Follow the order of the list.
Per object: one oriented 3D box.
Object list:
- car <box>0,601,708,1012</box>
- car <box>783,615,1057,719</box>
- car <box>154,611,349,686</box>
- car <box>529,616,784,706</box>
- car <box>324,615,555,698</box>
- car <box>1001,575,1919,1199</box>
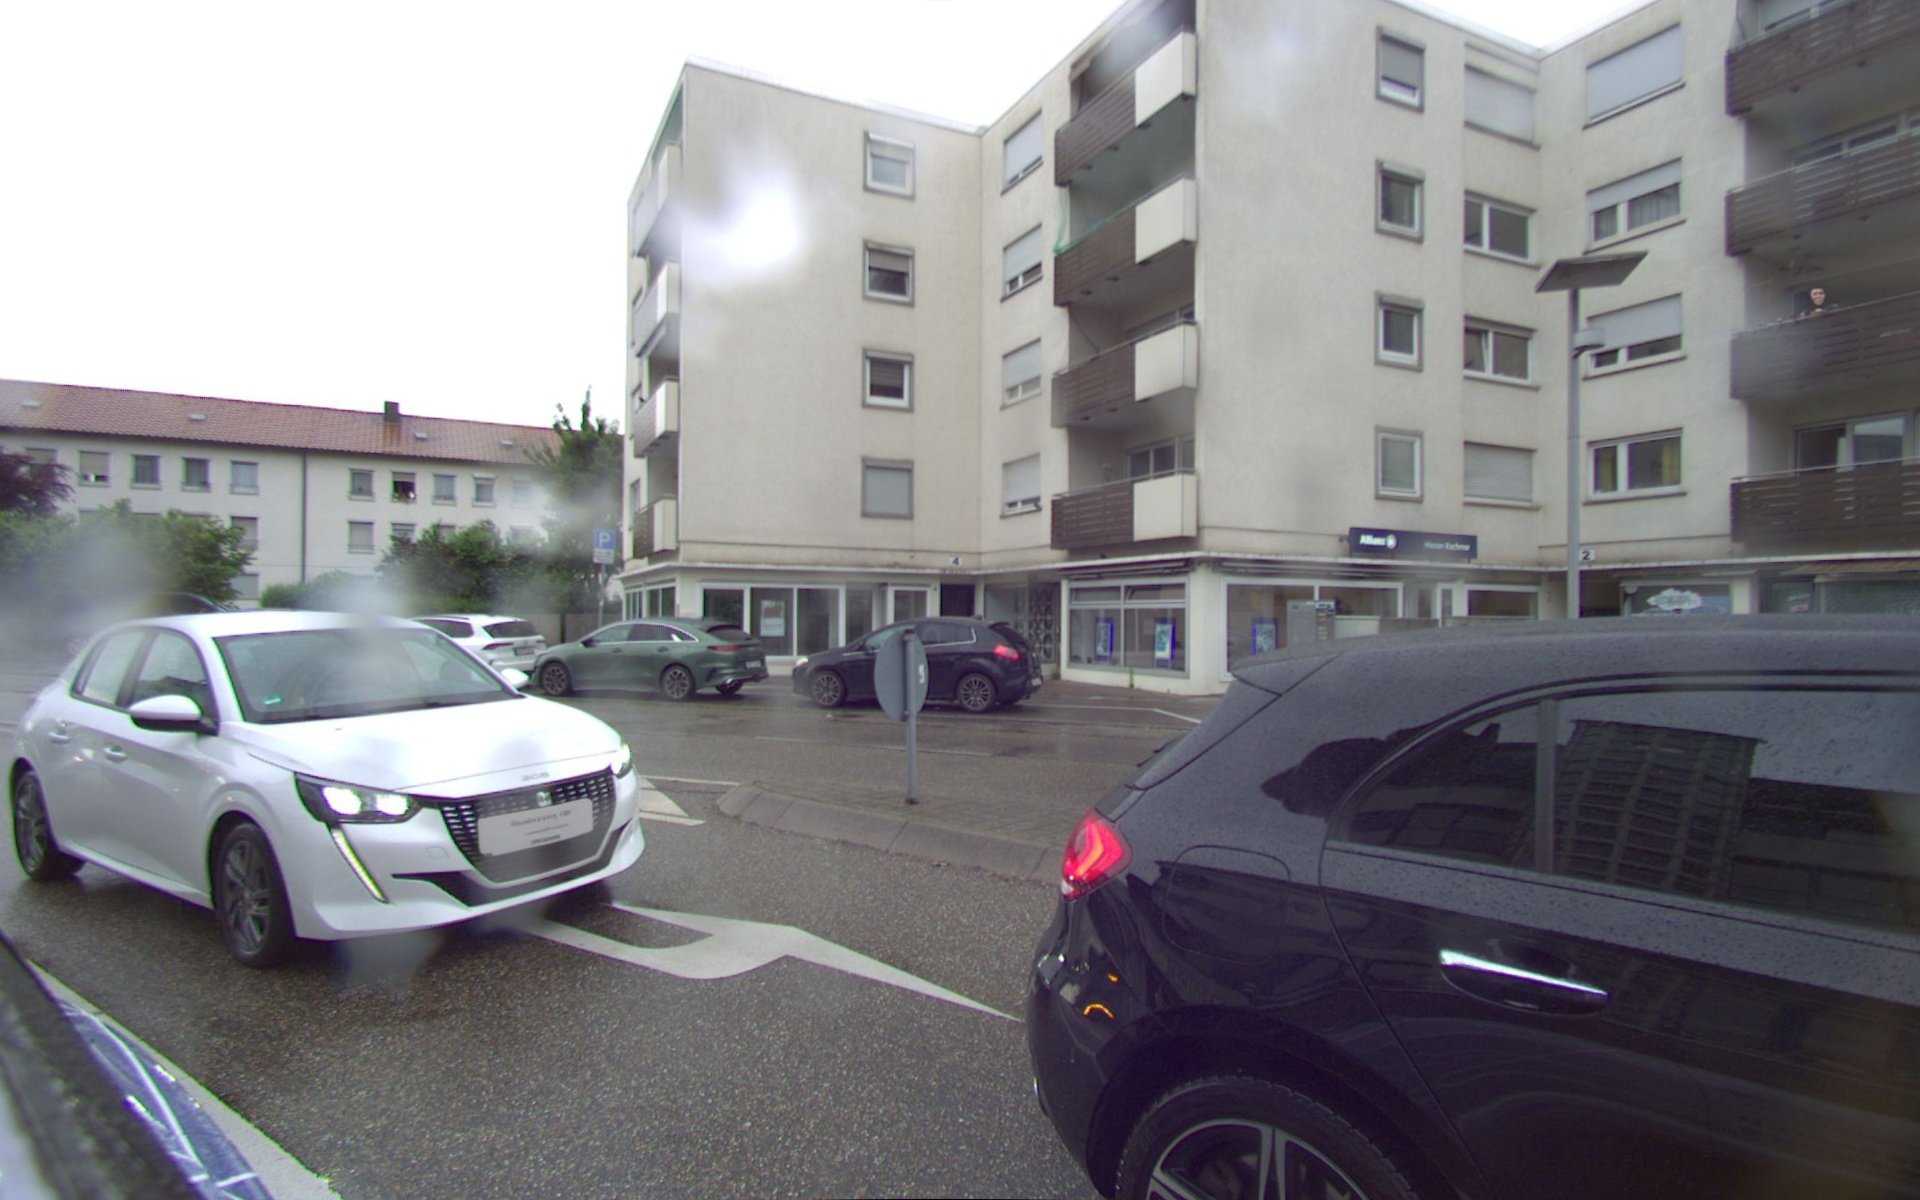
[{"bbox_3d":[-3.361,0.753,5.317,3.882,1.420,1.726,-1,0,31],"label":"car"},{"bbox_3d":[-0.639,1.022,16.631,4.156,1.471,1.825,0,0,20],"label":"car"},{"bbox_3d":[-15.636,1.034,22.361,3.852,1.517,1.623,0,-1,20],"label":"car"},{"bbox_3d":[-5.533,1.044,18.519,4.241,1.445,1.826,0,0,19],"label":"car"},{"bbox_3d":[-10.469,1.075,20.364,4.313,1.511,1.627,0,-1,20],"label":"car"},{"bbox_3d":[2.185,0.690,1.306,4.090,1.492,1.646,-2,-1,40],"label":"car"}]
